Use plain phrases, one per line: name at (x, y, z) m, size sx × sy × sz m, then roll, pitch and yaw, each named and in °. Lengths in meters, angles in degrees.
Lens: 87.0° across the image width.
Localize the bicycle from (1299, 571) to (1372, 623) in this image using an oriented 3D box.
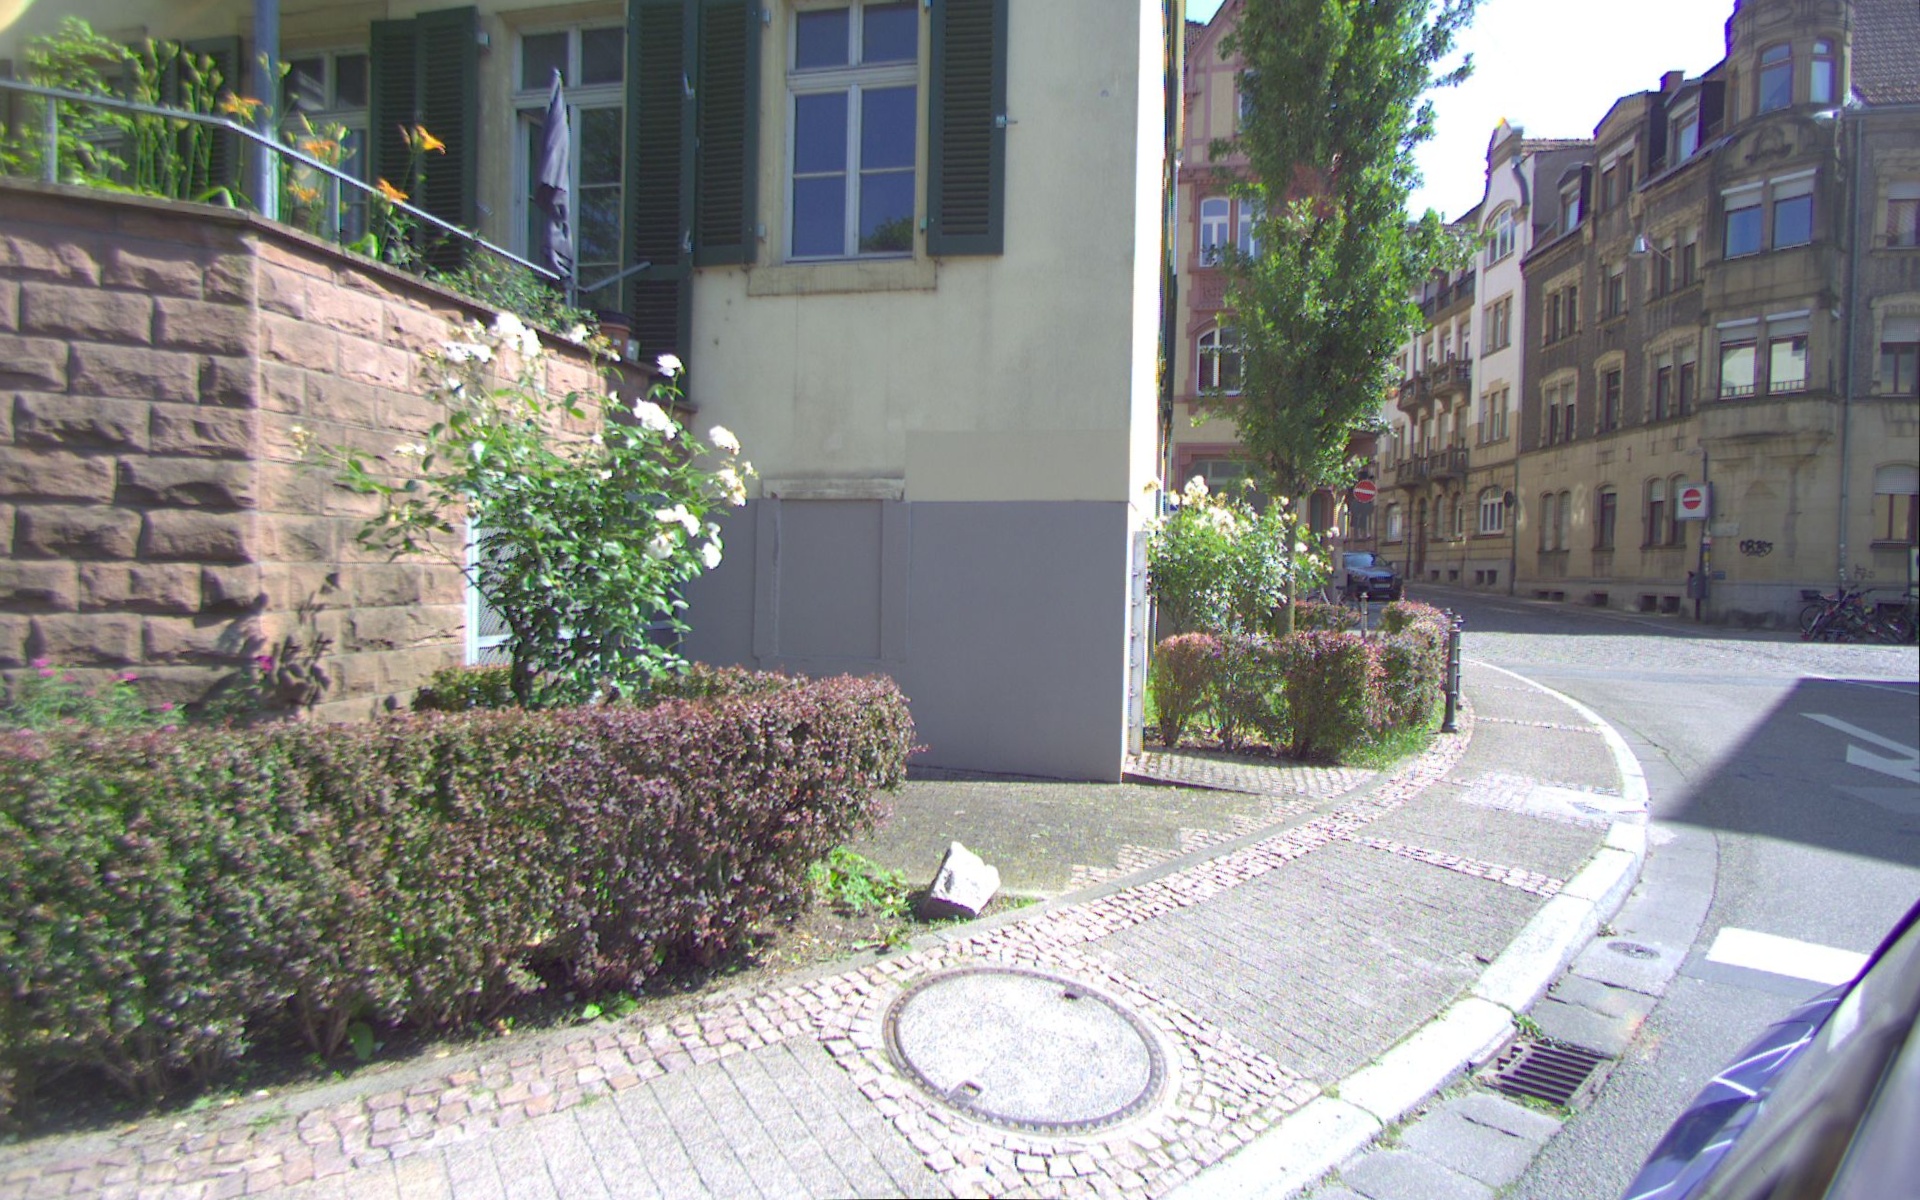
bicycle at (8.973, -0.088, 24.271) m, size 0.495 × 1.160 × 1.798 m, roll 1°, pitch 3°, yaw -23°

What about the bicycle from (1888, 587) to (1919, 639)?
bicycle at (20.393, 0.279, 21.097) m, size 0.280 × 1.099 × 1.646 m, roll 3°, pitch -1°, yaw -15°

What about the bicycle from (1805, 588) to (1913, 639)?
bicycle at (19.459, 0.264, 21.951) m, size 0.285 × 1.080 × 1.642 m, roll -42°, pitch 1°, yaw 3°

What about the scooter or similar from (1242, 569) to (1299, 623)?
scooter or similar at (7.298, -0.102, 23.831) m, size 1.168 × 1.250 × 0.442 m, roll 1°, pitch 2°, yaw 0°

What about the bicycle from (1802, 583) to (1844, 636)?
bicycle at (18.844, 0.194, 22.112) m, size 0.283 × 1.099 × 1.628 m, roll -2°, pitch 1°, yaw 26°

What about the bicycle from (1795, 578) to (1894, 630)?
bicycle at (20.630, 0.081, 23.638) m, size 1.617 × 1.098 × 0.495 m, roll 2°, pitch 6°, yaw 13°

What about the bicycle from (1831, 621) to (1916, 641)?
bicycle at (19.430, 0.654, 21.565) m, size 1.068 × 0.291 × 1.114 m, roll 2°, pitch 3°, yaw 27°

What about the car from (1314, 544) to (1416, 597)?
car at (13.594, -1.040, 34.257) m, size 1.828 × 1.601 × 4.261 m, roll -1°, pitch 4°, yaw 2°

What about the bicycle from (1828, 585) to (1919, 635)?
bicycle at (19.946, 0.204, 21.914) m, size 0.285 × 1.080 × 1.642 m, roll -42°, pitch 1°, yaw 3°
